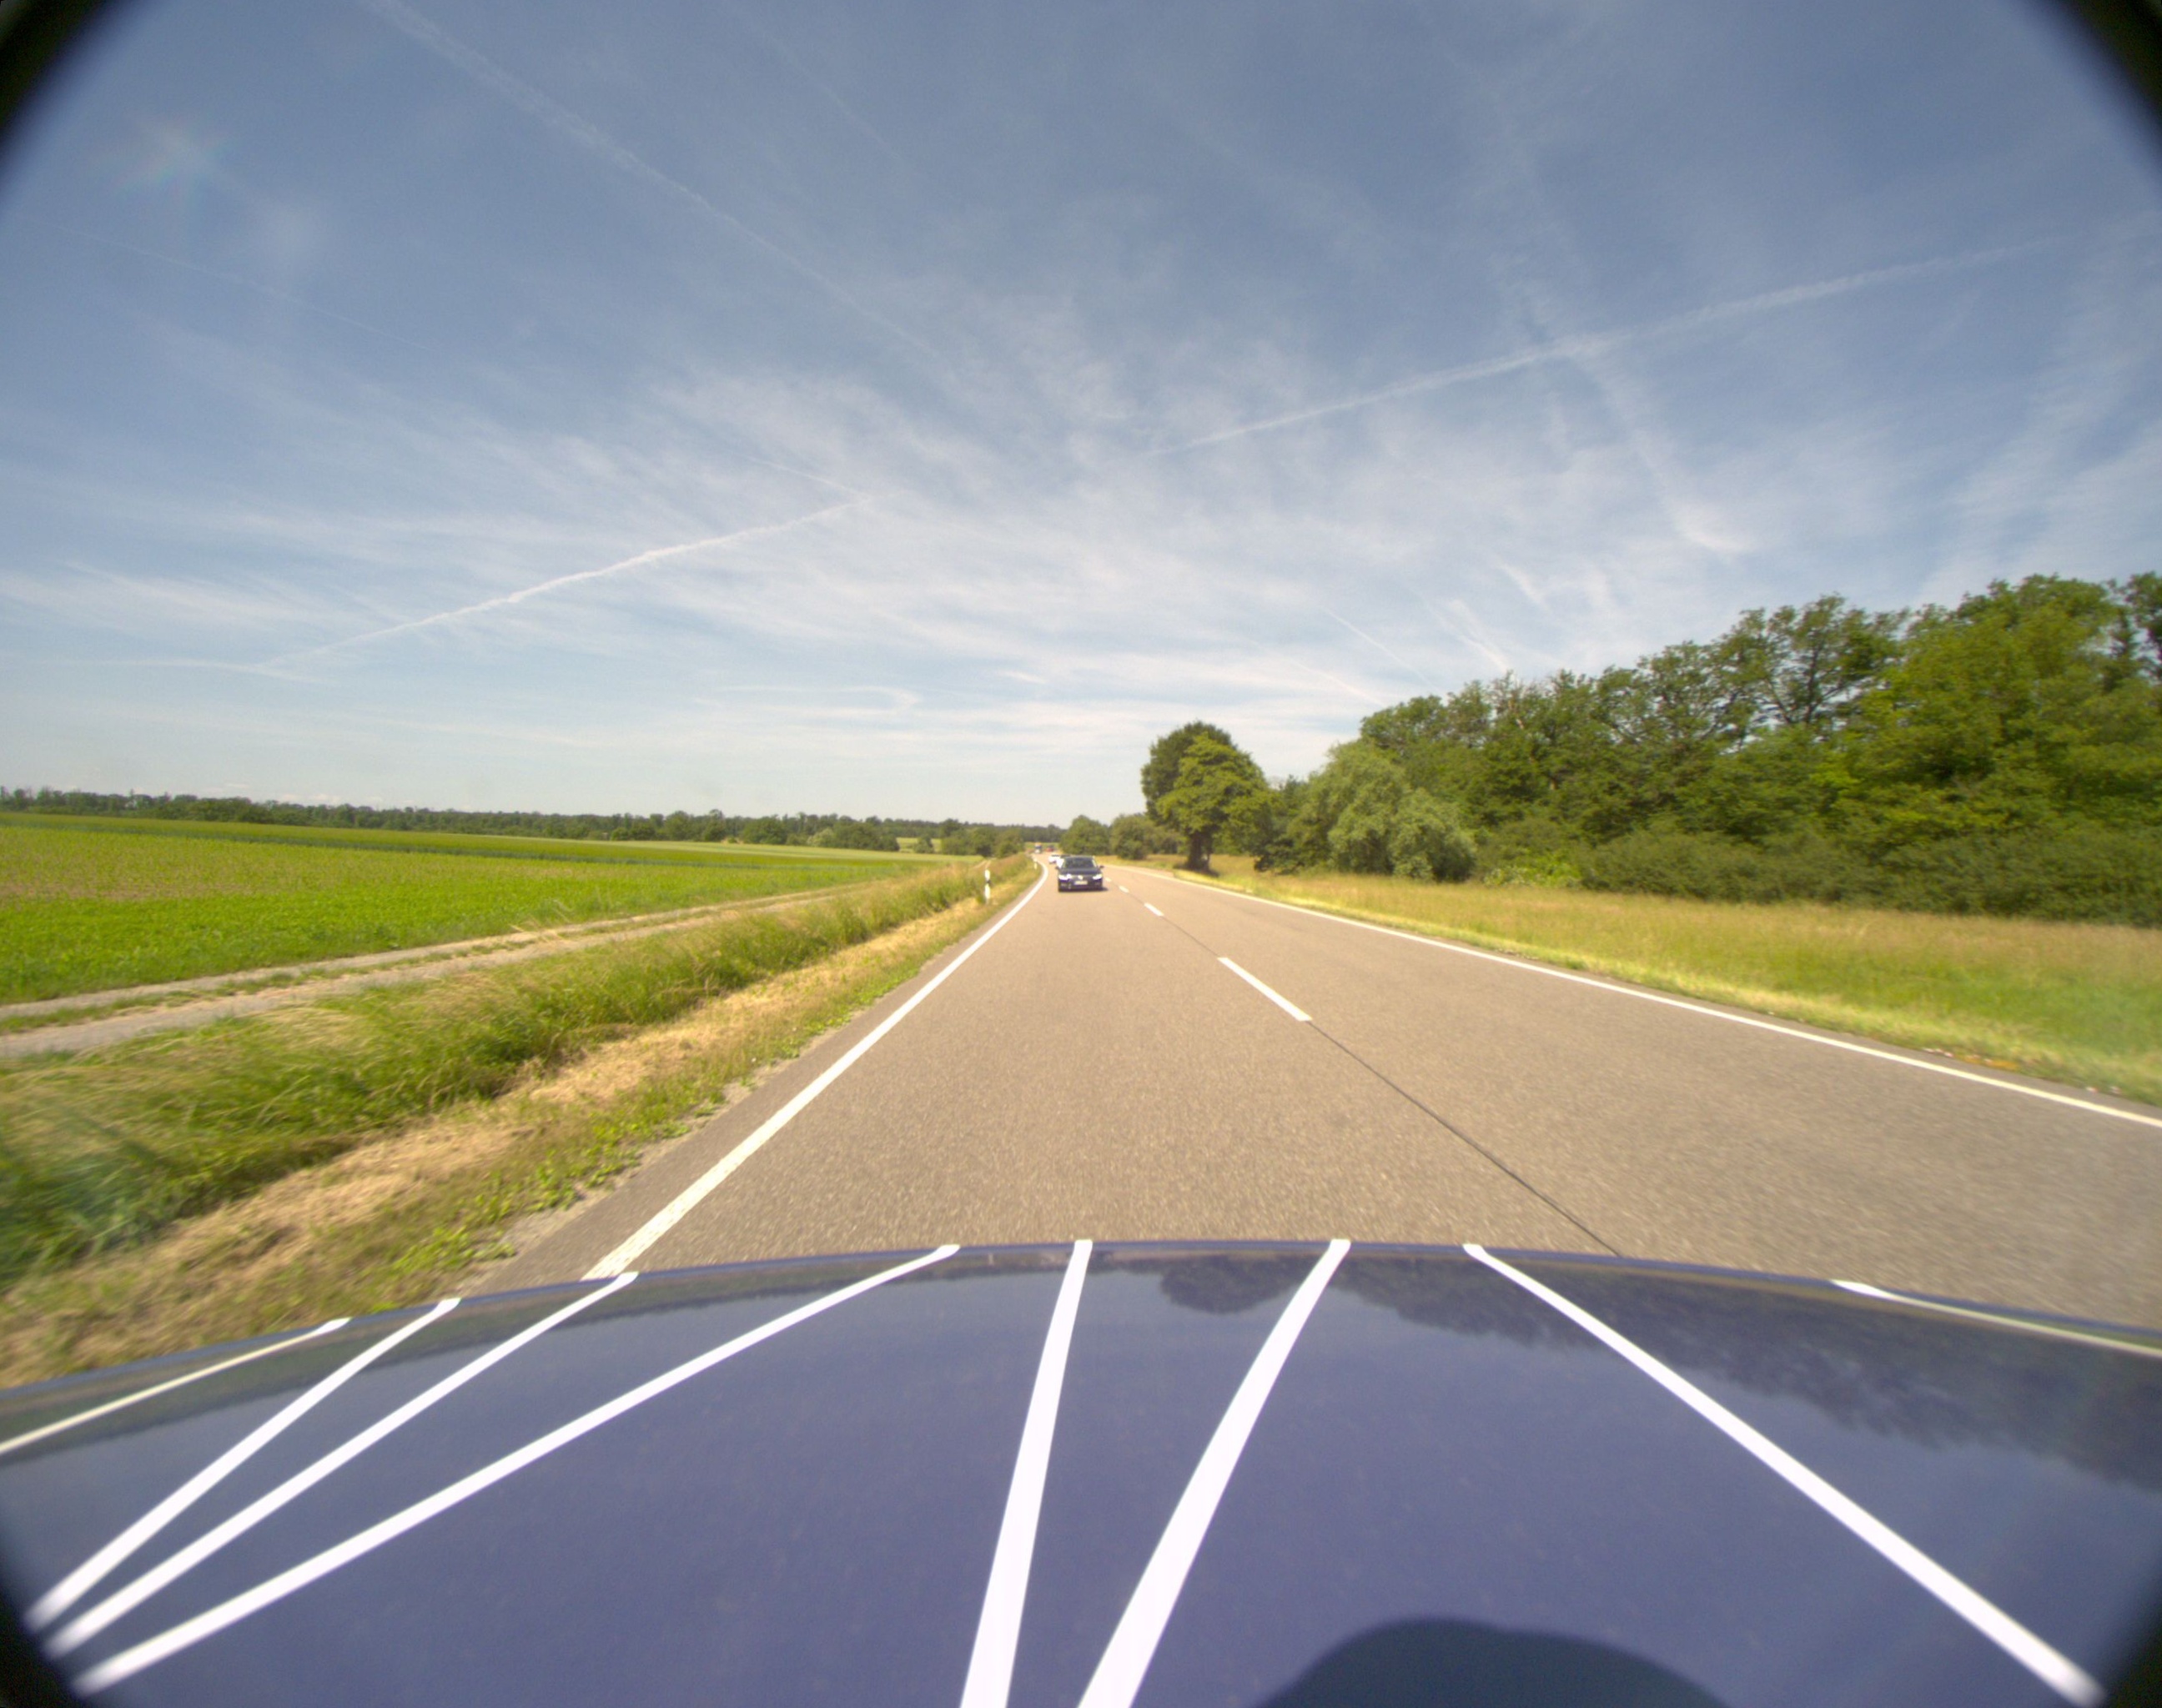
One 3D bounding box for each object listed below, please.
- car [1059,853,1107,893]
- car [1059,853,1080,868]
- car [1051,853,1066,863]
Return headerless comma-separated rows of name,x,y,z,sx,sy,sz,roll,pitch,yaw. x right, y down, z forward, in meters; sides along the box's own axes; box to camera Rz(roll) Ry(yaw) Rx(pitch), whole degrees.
car,0.031,0.739,32.377,1.822,1.501,4.499,-2,0,-2
car,-1.226,0.693,78.238,1.929,1.501,4.289,0,0,-4
car,-3.276,0.563,109.429,1.929,1.501,4.289,1,0,-5
